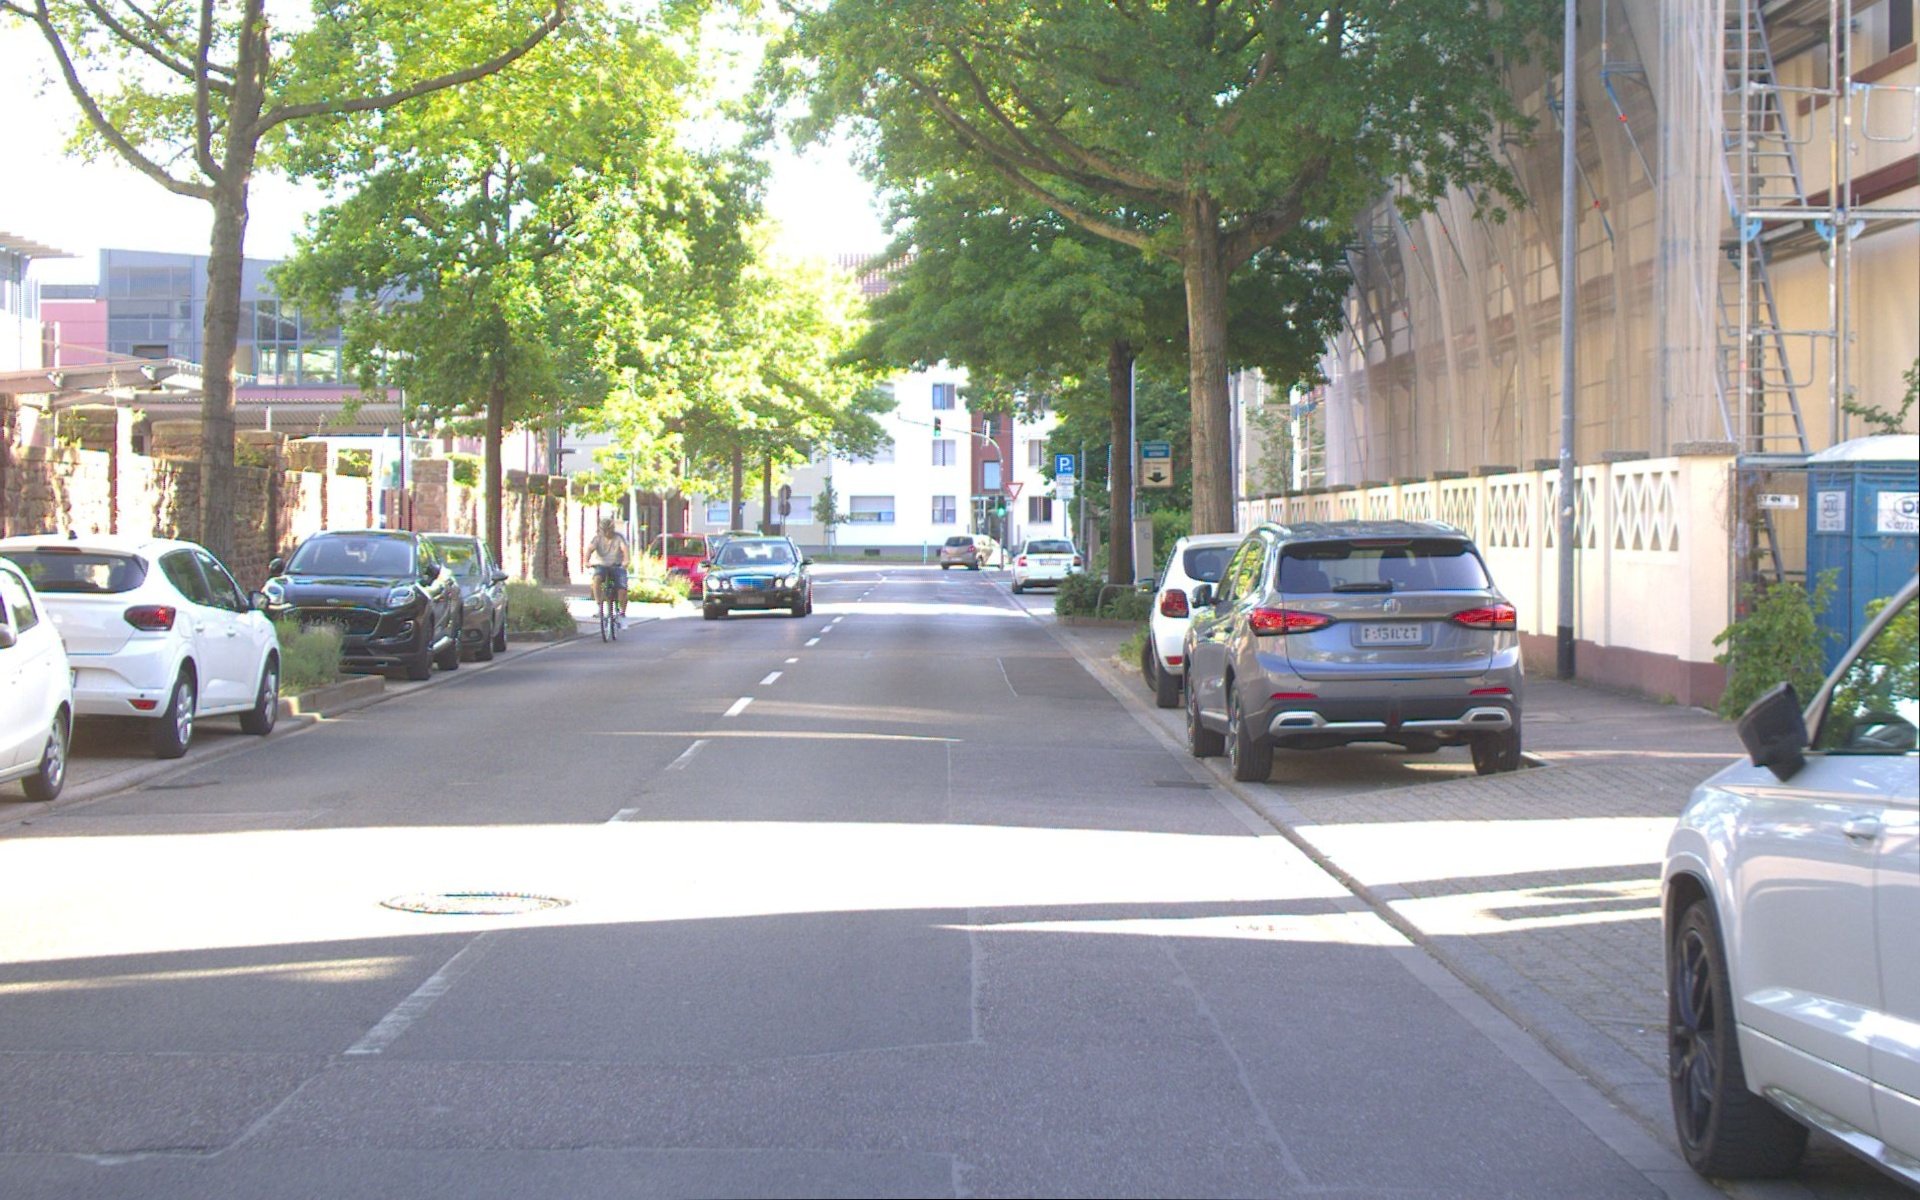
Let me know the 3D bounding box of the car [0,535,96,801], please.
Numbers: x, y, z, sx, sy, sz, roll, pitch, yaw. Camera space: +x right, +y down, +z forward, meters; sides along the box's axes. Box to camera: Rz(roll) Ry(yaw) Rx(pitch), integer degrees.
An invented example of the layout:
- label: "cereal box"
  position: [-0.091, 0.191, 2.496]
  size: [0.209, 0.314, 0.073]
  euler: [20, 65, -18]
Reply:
- label: "car"
  position: [-5.933, 0.341, 18.612]
  size: [1.574, 1.397, 3.751]
  euler: [3, 1, -1]

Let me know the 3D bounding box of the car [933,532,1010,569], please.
- label: "car"
  position: [0.486, -2.054, 143.499]
  size: [1.642, 1.438, 3.415]
  euler: [2, 1, 31]

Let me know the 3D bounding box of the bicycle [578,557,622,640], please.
- label: "bicycle"
  position: [-5.012, -0.033, 47.908]
  size: [0.357, 1.116, 1.866]
  euler: [2, 1, 1]

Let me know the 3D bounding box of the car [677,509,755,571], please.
- label: "car"
  position: [-6.611, -1.643, 93.572]
  size: [1.737, 1.587, 4.107]
  euler: [2, 1, 1]

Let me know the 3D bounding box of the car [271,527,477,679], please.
- label: "car"
  position: [-6.156, -0.012, 36.463]
  size: [1.573, 1.510, 4.045]
  euler: [1, 1, -1]

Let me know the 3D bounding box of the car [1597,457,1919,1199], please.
- label: "car"
  position: [2.621, 0.550, 6.803]
  size: [1.792, 1.610, 4.127]
  euler: [1, 1, -2]

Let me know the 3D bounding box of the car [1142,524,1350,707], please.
- label: "car"
  position: [2.563, 0.092, 31.558]
  size: [1.724, 1.505, 3.992]
  euler: [-1, 2, 3]

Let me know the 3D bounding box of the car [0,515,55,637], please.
- label: "car"
  position: [-12.135, -0.330, 41.450]
  size: [1.686, 1.417, 3.839]
  euler: [2, 1, -5]

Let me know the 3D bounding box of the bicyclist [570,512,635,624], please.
- label: "bicyclist"
  position: [-4.969, -0.454, 47.876]
  size: [0.721, 1.517, 1.005]
  euler: [2, 1, 2]

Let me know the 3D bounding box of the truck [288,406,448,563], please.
- label: "truck"
  position: [-14.747, -2.847, 86.138]
  size: [2.732, 3.698, 7.429]
  euler: [2, 1, -1]

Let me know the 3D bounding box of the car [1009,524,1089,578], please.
- label: "car"
  position: [2.245, -1.275, 87.934]
  size: [1.832, 1.318, 4.496]
  euler: [-1, 1, -1]

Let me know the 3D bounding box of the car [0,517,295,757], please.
- label: "car"
  position: [-6.041, 0.202, 24.774]
  size: [1.676, 1.506, 3.850]
  euler: [3, 1, 0]

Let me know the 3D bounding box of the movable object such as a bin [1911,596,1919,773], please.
- label: "movable object such as a bin"
  position: [5.892, 0.504, 19.912]
  size: [0.598, 1.023, 0.564]
  euler: [2, 1, 3]

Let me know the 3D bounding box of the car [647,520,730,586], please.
- label: "car"
  position: [-6.336, -1.120, 80.440]
  size: [1.609, 1.454, 3.708]
  euler: [2, 1, 0]

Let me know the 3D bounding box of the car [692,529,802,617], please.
- label: "car"
  position: [-3.807, -0.508, 61.971]
  size: [1.821, 1.431, 3.970]
  euler: [2, 2, -2]

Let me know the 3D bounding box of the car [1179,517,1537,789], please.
- label: "car"
  position: [2.530, 0.269, 22.816]
  size: [1.712, 1.632, 4.303]
  euler: [0, 1, -2]
